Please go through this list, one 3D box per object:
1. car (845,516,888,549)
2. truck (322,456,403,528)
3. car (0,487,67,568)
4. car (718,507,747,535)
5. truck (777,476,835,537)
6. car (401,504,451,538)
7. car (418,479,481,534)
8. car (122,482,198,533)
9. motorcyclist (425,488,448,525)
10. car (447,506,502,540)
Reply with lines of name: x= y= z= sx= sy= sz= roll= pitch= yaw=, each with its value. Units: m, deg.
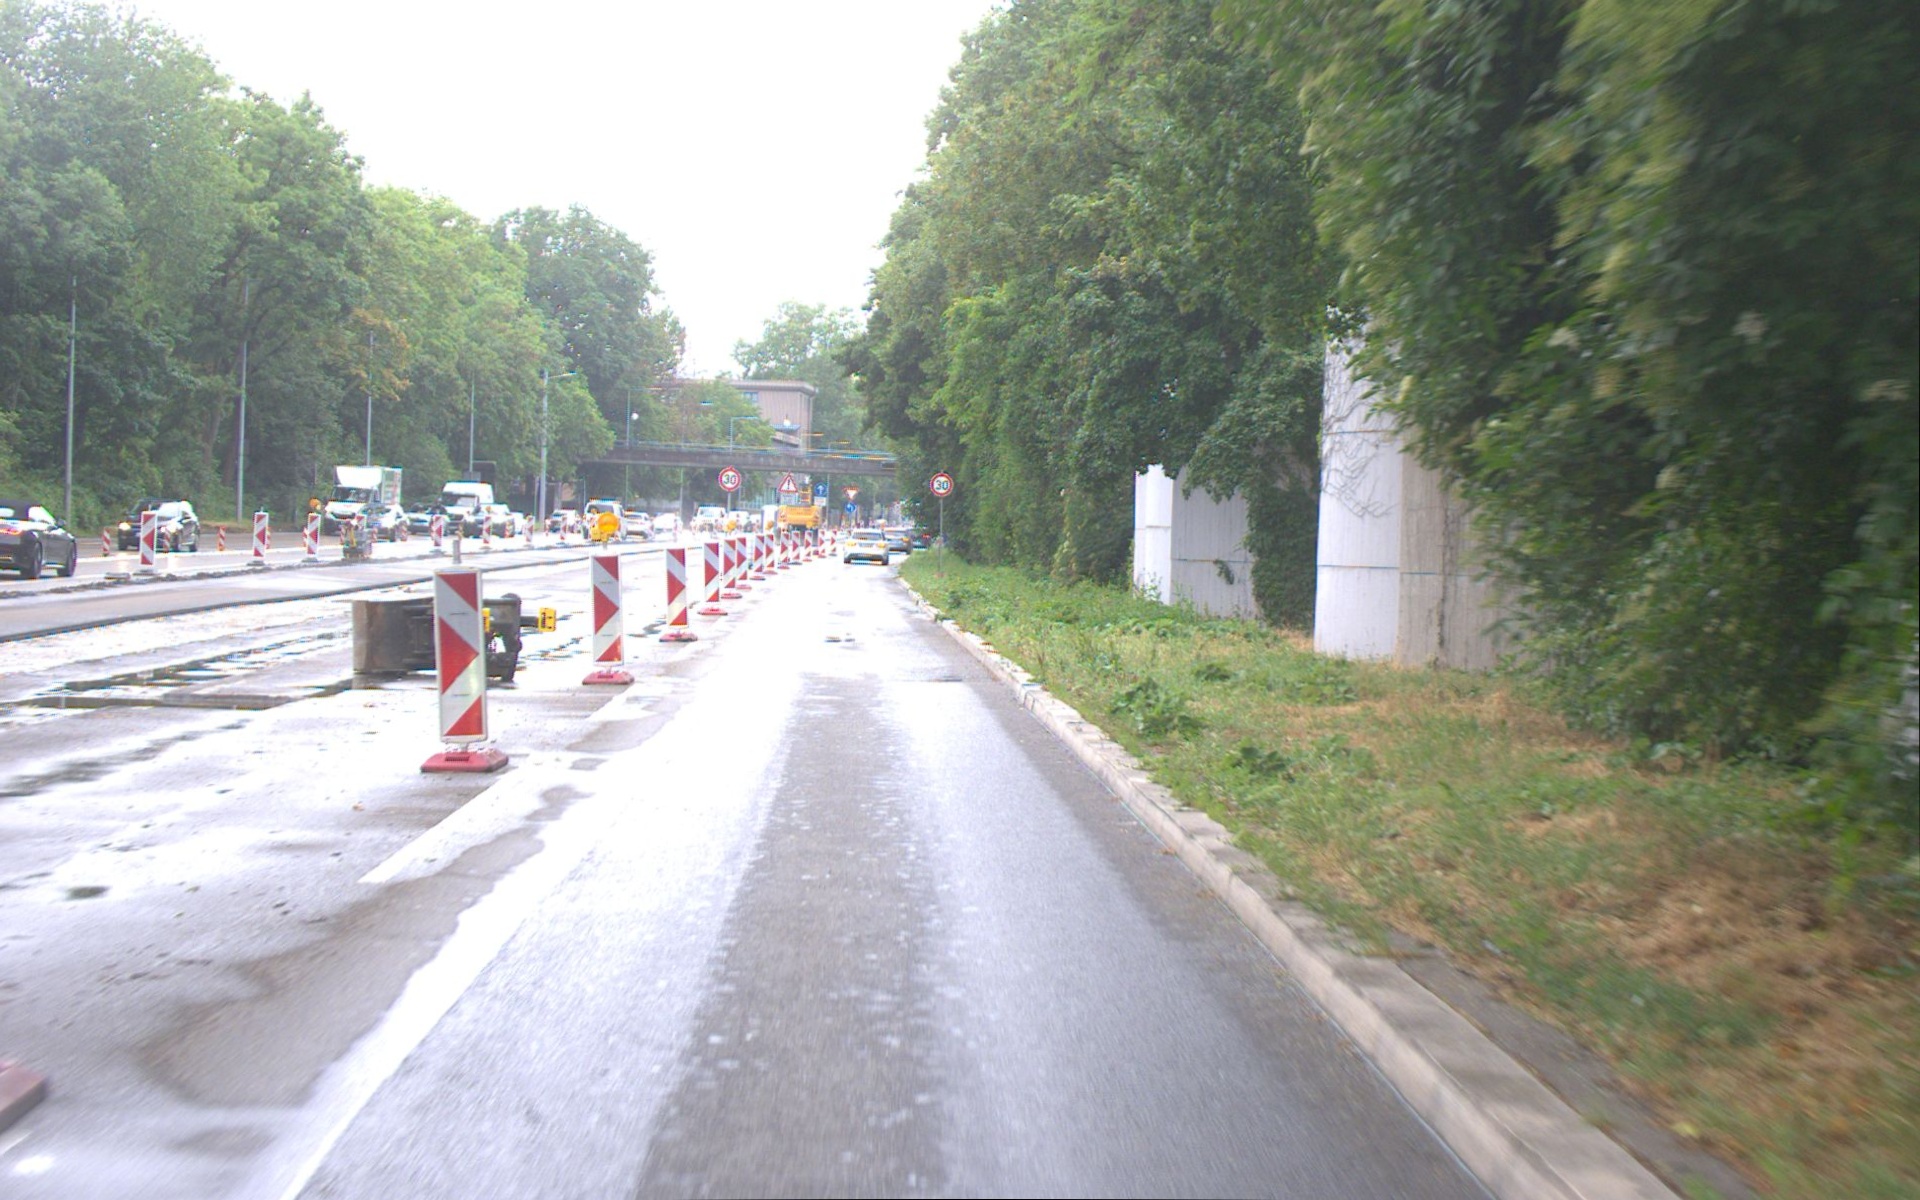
car: x=-3.808 y=-2.779 z=140.918 sx=1.697 sy=1.331 sz=3.491 roll=0 pitch=1 yaw=0
truck: x=-25.268 y=-4.561 z=145.699 sx=2.246 sy=2.930 sz=6.936 roll=2 pitch=1 yaw=-1
car: x=-17.489 y=-1.338 z=62.212 sx=1.607 sy=1.399 sz=4.041 roll=2 pitch=1 yaw=-1
car: x=-15.415 y=-5.371 z=233.258 sx=1.670 sy=1.802 sz=4.321 roll=2 pitch=3 yaw=-1
truck: x=-9.400 y=-5.729 z=211.208 sx=3.259 sy=3.485 sz=13.872 roll=2 pitch=1 yaw=-2
car: x=-24.976 y=-3.701 z=160.784 sx=1.670 sy=1.480 sz=4.320 roll=2 pitch=1 yaw=-1
car: x=-25.008 y=-4.561 z=168.529 sx=2.099 sy=2.571 sz=6.854 roll=2 pitch=1 yaw=-1
car: x=-22.055 y=-2.551 z=94.869 sx=1.447 sy=1.327 sz=3.862 roll=2 pitch=1 yaw=-4
motorcyclist: x=-22.414 y=-4.011 z=147.175 sx=0.828 sy=1.559 sz=0.927 roll=3 pitch=1 yaw=-2
car: x=-22.837 y=-3.641 z=161.799 sx=1.959 sy=1.526 sz=4.437 roll=2 pitch=1 yaw=-1
